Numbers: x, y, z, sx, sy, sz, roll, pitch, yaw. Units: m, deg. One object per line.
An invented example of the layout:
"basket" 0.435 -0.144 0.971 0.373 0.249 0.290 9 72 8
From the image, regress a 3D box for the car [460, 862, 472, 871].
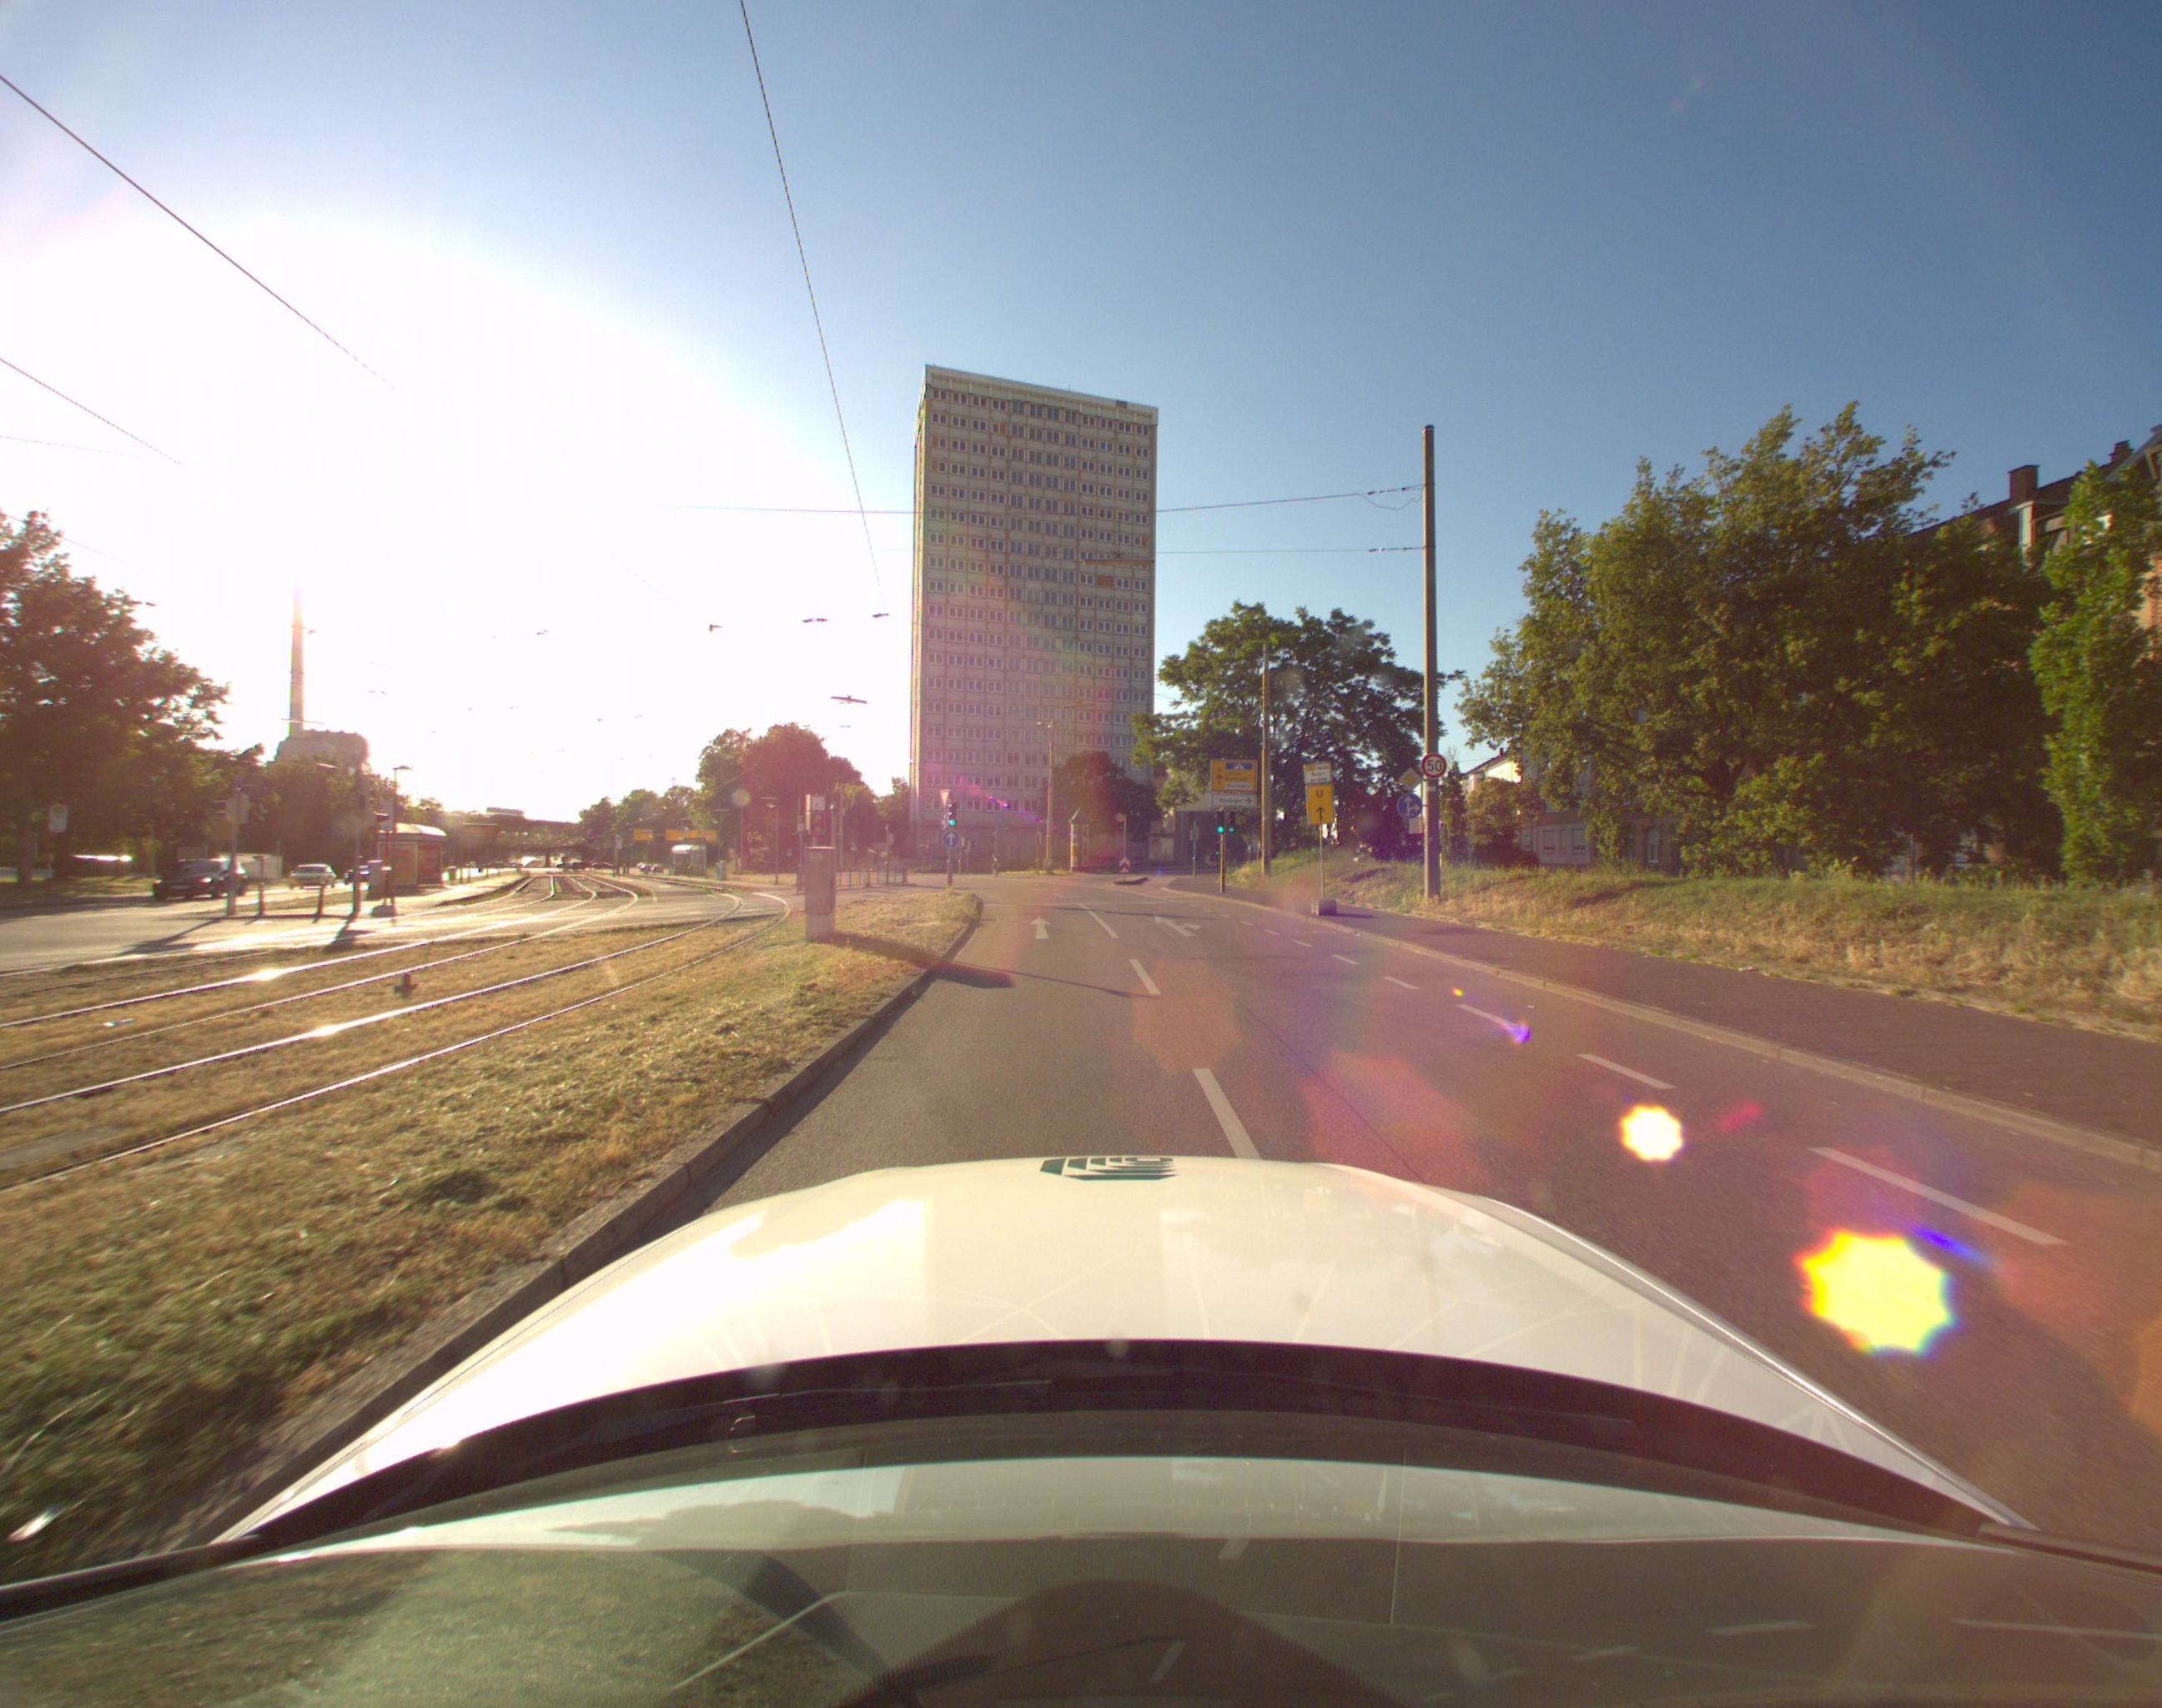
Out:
"car" -140.845 2.874 186.519 2.008 2.014 3.958 0 -1 -33

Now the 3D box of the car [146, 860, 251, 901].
"car" -36.492 1.061 33.810 1.589 1.595 4.115 1 -1 -28

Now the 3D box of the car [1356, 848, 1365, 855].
"car" 65.843 -0.594 191.747 1.843 1.543 4.020 -1 0 20

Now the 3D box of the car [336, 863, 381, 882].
"car" -54.744 1.392 61.792 1.813 1.367 3.927 0 0 -31

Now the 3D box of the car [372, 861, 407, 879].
"car" -59.513 1.376 70.135 1.701 1.530 3.664 0 0 -32

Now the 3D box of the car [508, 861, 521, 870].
"car" -131.837 2.623 189.501 2.005 2.014 4.817 0 0 -29

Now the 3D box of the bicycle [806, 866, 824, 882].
"bicycle" -16.457 1.239 50.482 0.552 0.918 1.742 -2 0 -1

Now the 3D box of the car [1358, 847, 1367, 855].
"car" 61.589 -0.648 178.335 1.843 1.543 3.898 -1 0 20

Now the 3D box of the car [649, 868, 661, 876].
"car" -77.462 3.244 148.054 1.525 1.387 3.328 1 0 -33

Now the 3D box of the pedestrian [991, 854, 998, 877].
"pedestrian" -6.100 0.787 57.283 0.435 1.612 0.629 0 -1 -5

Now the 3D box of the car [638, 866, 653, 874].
"car" -84.126 3.084 157.344 2.053 1.446 3.957 -1 1 -35

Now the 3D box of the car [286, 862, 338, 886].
"car" -45.989 1.181 48.773 1.556 1.340 3.557 0 0 -32

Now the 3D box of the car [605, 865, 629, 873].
"car" -116.246 3.690 203.934 4.857 2.013 1.989 1 0 -17

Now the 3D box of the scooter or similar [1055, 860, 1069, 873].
"scooter or similar" -1.746 1.156 75.399 1.299 1.170 0.325 0 0 -15
